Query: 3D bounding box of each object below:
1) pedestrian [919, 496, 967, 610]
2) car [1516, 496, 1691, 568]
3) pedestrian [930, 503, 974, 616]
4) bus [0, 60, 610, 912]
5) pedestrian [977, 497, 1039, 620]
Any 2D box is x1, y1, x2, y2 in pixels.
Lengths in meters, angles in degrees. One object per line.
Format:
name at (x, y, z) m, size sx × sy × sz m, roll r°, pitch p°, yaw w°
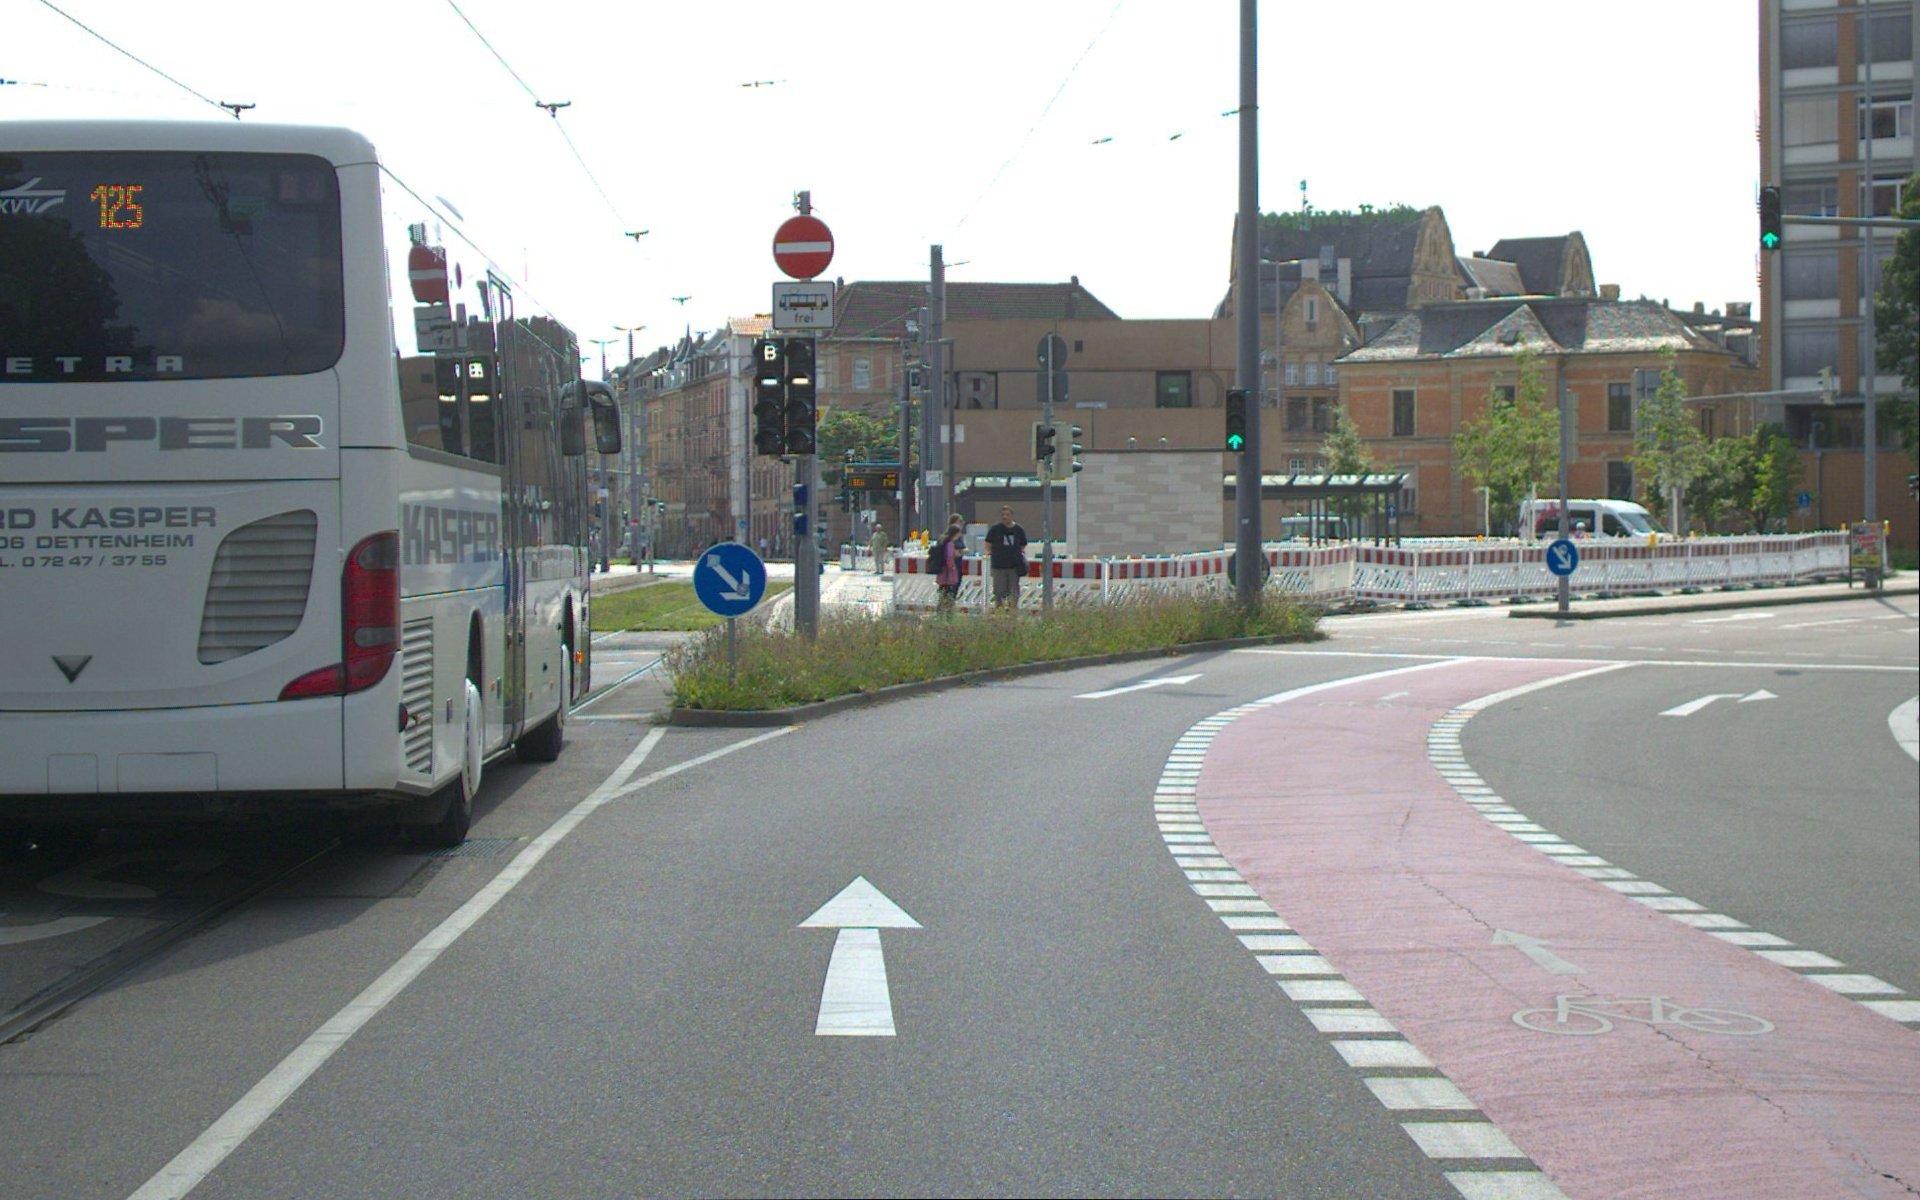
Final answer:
pedestrian at (-0.256, -0.710, 51.795) m, size 0.611 × 1.701 × 0.623 m, roll -1°, pitch 1°, yaw -10°
car at (21.178, -2.243, 113.327) m, size 2.295 × 2.311 × 5.587 m, roll -1°, pitch 1°, yaw -37°
pedestrian at (-0.122, -0.628, 52.800) m, size 0.409 × 1.730 × 0.620 m, roll 0°, pitch 2°, yaw 31°
bus at (-3.868, -0.561, 19.553) m, size 2.917 × 3.316 × 12.208 m, roll 1°, pitch 1°, yaw -2°
pedestrian at (0.743, -0.648, 53.296) m, size 0.791 × 1.878 × 0.613 m, roll -1°, pitch 1°, yaw -18°
